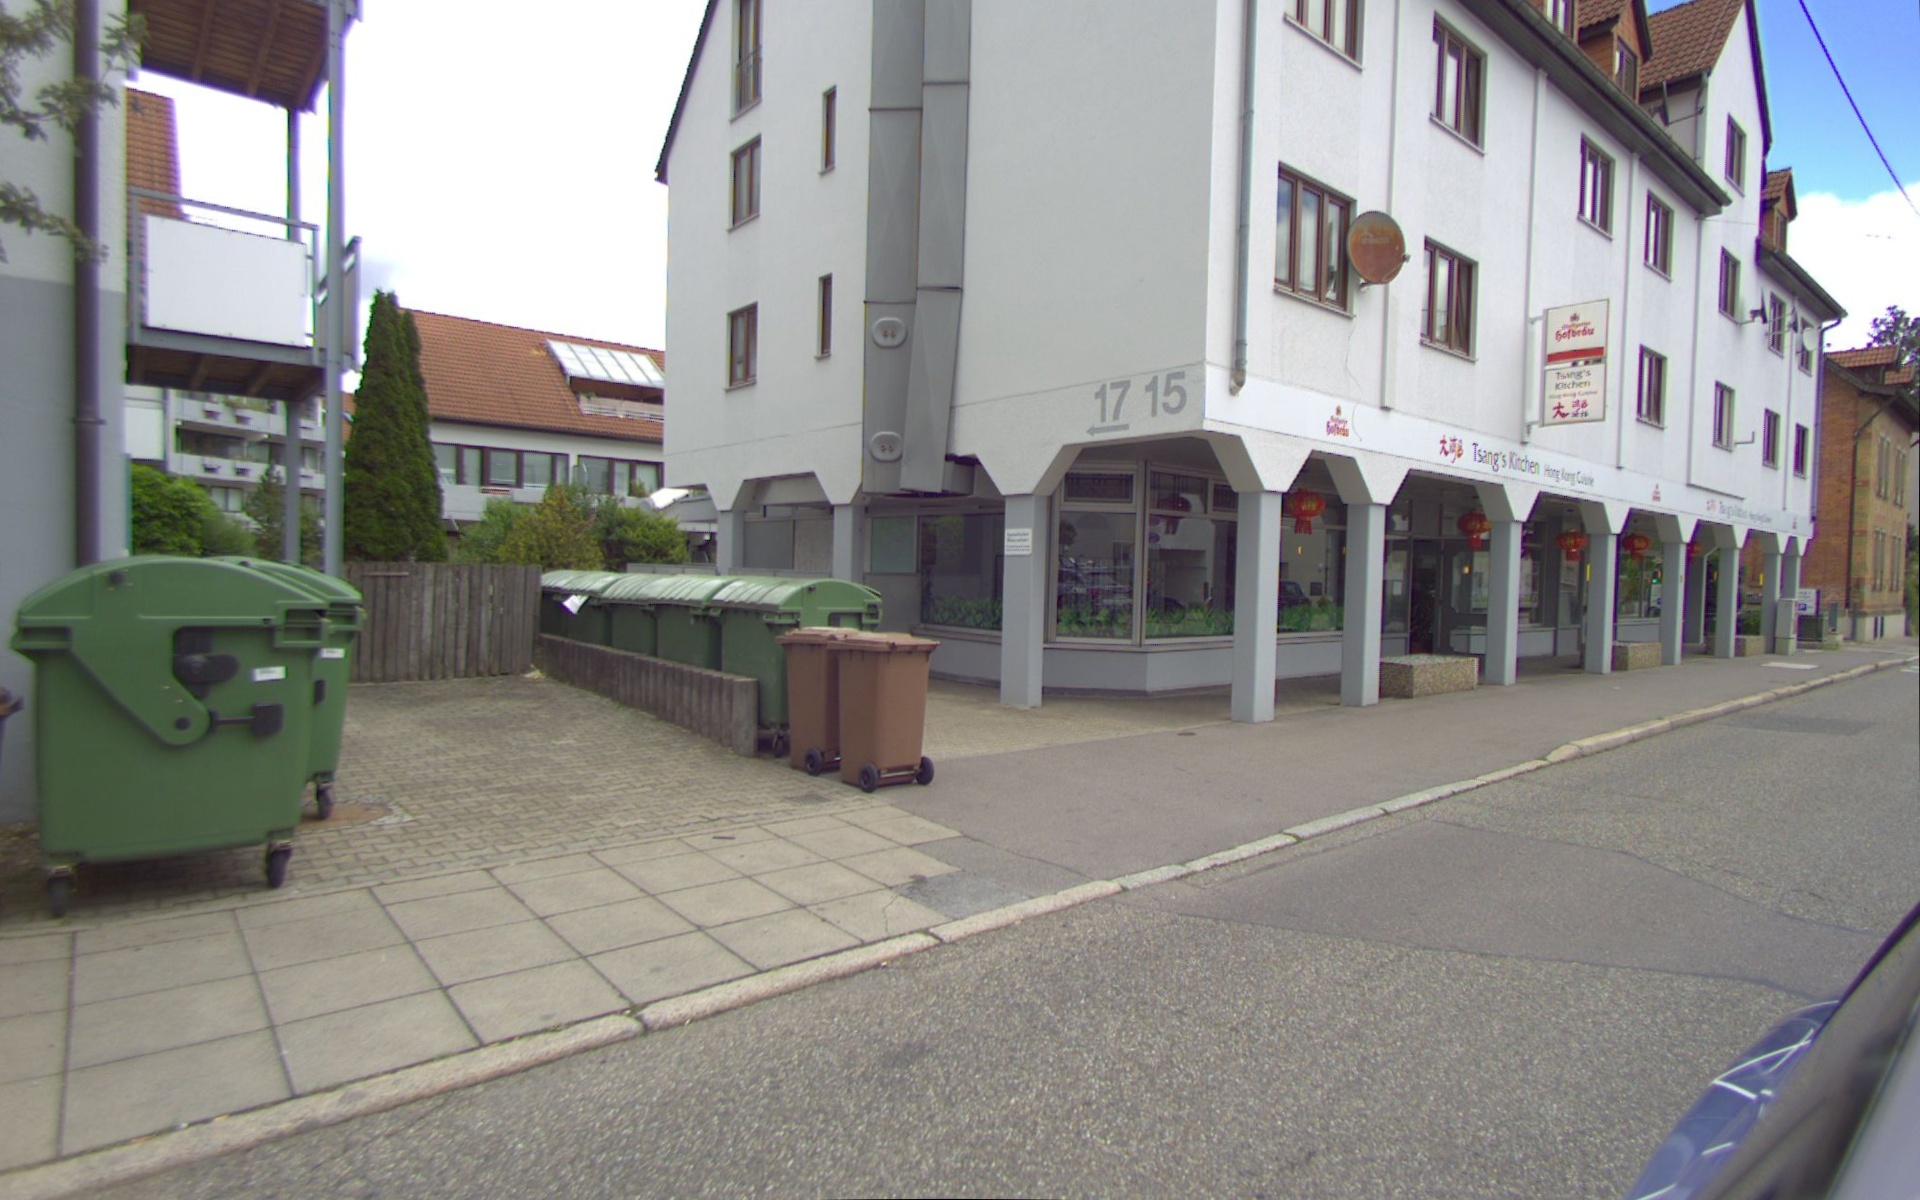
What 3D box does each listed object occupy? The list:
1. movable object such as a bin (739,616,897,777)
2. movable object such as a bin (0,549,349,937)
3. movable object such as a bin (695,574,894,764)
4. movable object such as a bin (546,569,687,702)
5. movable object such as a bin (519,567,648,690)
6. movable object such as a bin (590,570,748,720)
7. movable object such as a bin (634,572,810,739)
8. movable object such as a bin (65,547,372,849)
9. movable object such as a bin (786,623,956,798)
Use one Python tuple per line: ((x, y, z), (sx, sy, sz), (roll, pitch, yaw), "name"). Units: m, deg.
((-1.074, 0.687, 7.663), (0.953, 1.092, 0.700), (0, 2, -37), "movable object such as a bin")
((-3.534, 0.505, 4.561), (1.142, 1.435, 1.270), (0, 2, -40), "movable object such as a bin")
((-1.424, 0.521, 8.617), (1.236, 1.435, 1.213), (0, 2, -37), "movable object such as a bin")
((-4.035, 0.372, 11.861), (1.236, 1.435, 1.213), (0, 2, -37), "movable object such as a bin")
((-4.788, 0.324, 12.860), (1.236, 1.435, 1.213), (0, 2, -37), "movable object such as a bin")
((-3.074, 0.427, 10.660), (1.236, 1.435, 1.213), (0, 2, -37), "movable object such as a bin")
((-2.287, 0.471, 9.675), (1.236, 1.435, 1.213), (0, 2, -37), "movable object such as a bin")
((-4.215, 0.449, 5.767), (1.284, 1.452, 1.270), (0, 2, -40), "movable object such as a bin")
((-0.625, 0.727, 7.085), (0.953, 1.080, 0.685), (0, 1, -37), "movable object such as a bin")
